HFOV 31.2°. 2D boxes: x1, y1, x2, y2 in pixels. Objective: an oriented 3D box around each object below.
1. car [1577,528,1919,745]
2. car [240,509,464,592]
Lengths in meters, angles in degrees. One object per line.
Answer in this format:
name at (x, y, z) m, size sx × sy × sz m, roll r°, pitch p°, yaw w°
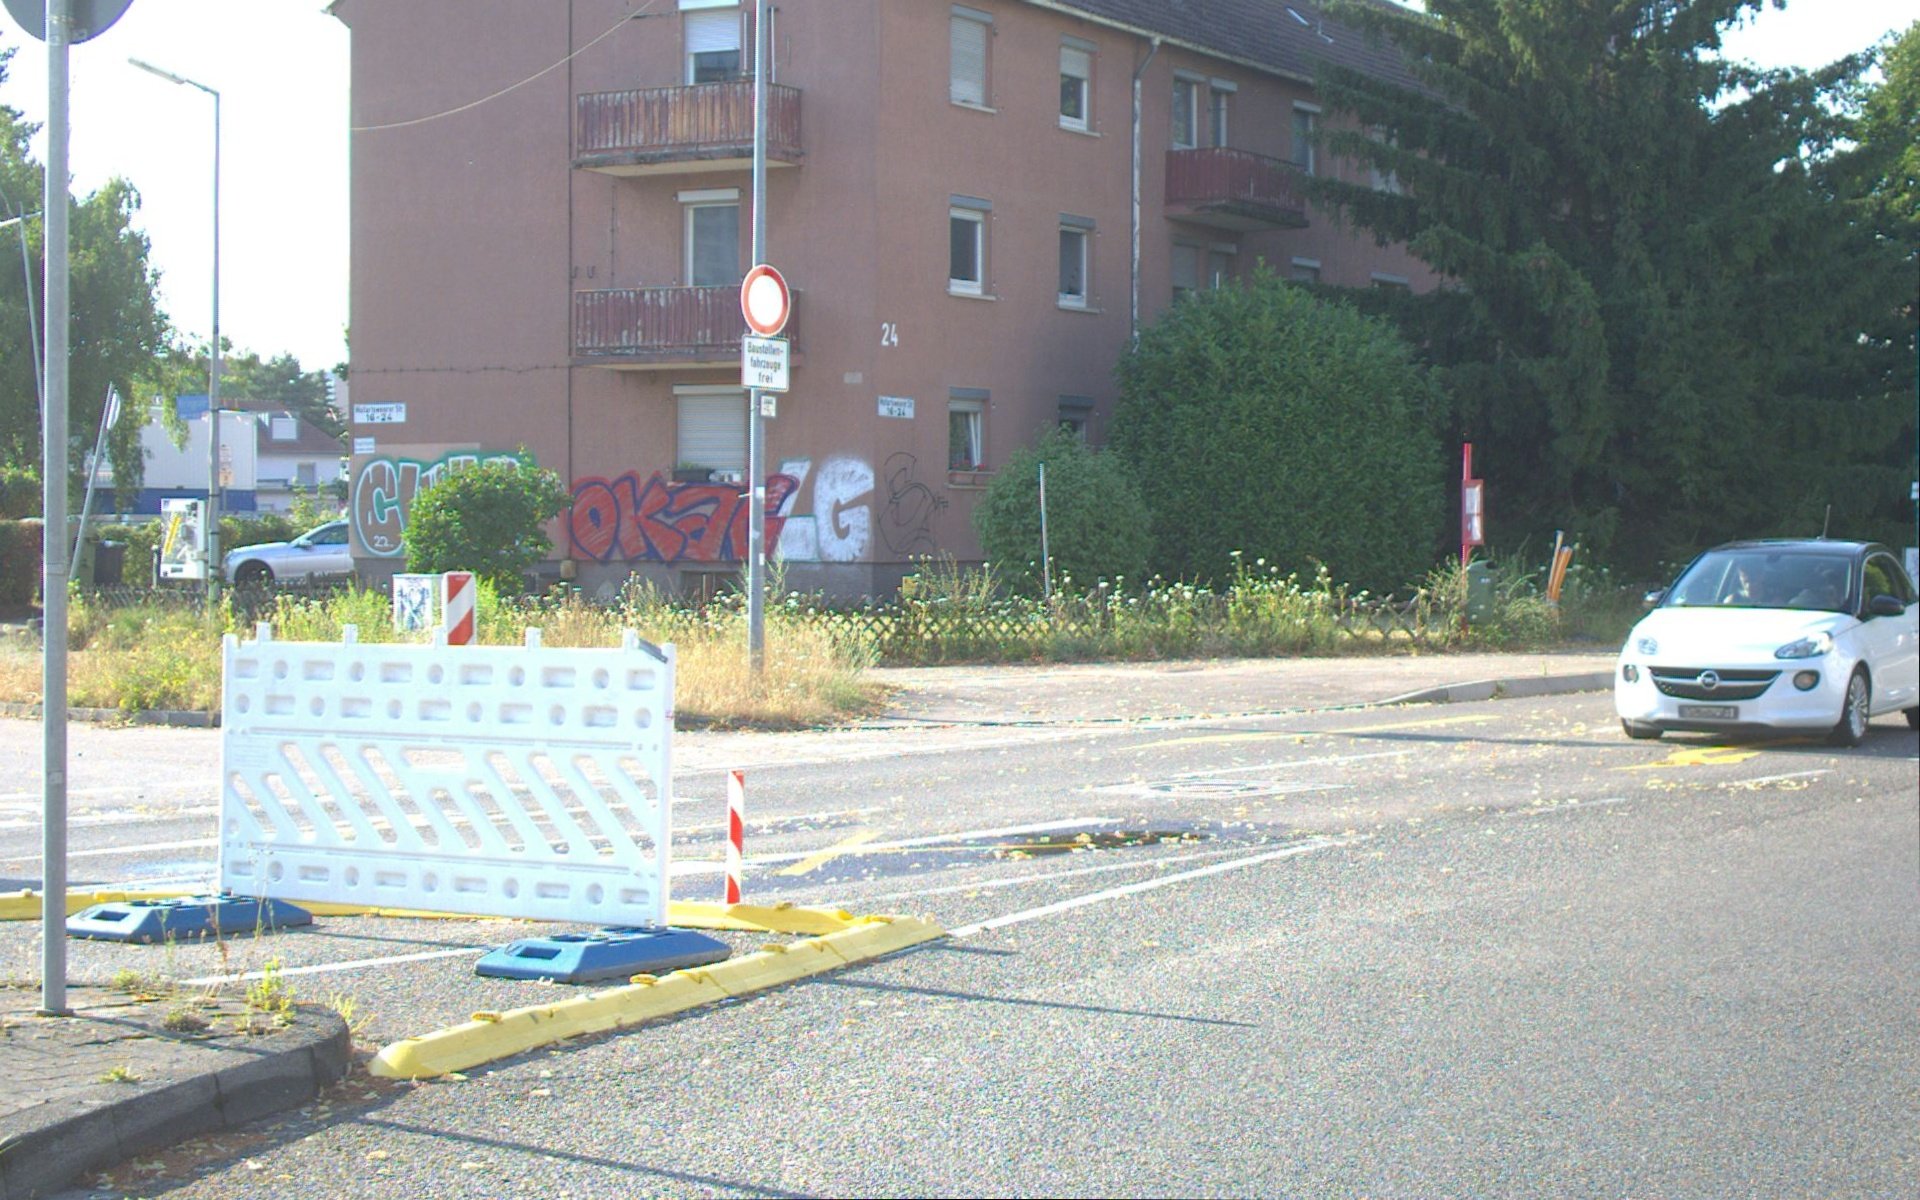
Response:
car at (6.069, 0.223, 25.417) m, size 1.762 × 1.416 × 3.618 m, roll 3°, pitch 2°, yaw 31°
car at (-11.611, -0.950, 65.870) m, size 3.986 × 1.525 × 2.000 m, roll 0°, pitch 1°, yaw -3°
